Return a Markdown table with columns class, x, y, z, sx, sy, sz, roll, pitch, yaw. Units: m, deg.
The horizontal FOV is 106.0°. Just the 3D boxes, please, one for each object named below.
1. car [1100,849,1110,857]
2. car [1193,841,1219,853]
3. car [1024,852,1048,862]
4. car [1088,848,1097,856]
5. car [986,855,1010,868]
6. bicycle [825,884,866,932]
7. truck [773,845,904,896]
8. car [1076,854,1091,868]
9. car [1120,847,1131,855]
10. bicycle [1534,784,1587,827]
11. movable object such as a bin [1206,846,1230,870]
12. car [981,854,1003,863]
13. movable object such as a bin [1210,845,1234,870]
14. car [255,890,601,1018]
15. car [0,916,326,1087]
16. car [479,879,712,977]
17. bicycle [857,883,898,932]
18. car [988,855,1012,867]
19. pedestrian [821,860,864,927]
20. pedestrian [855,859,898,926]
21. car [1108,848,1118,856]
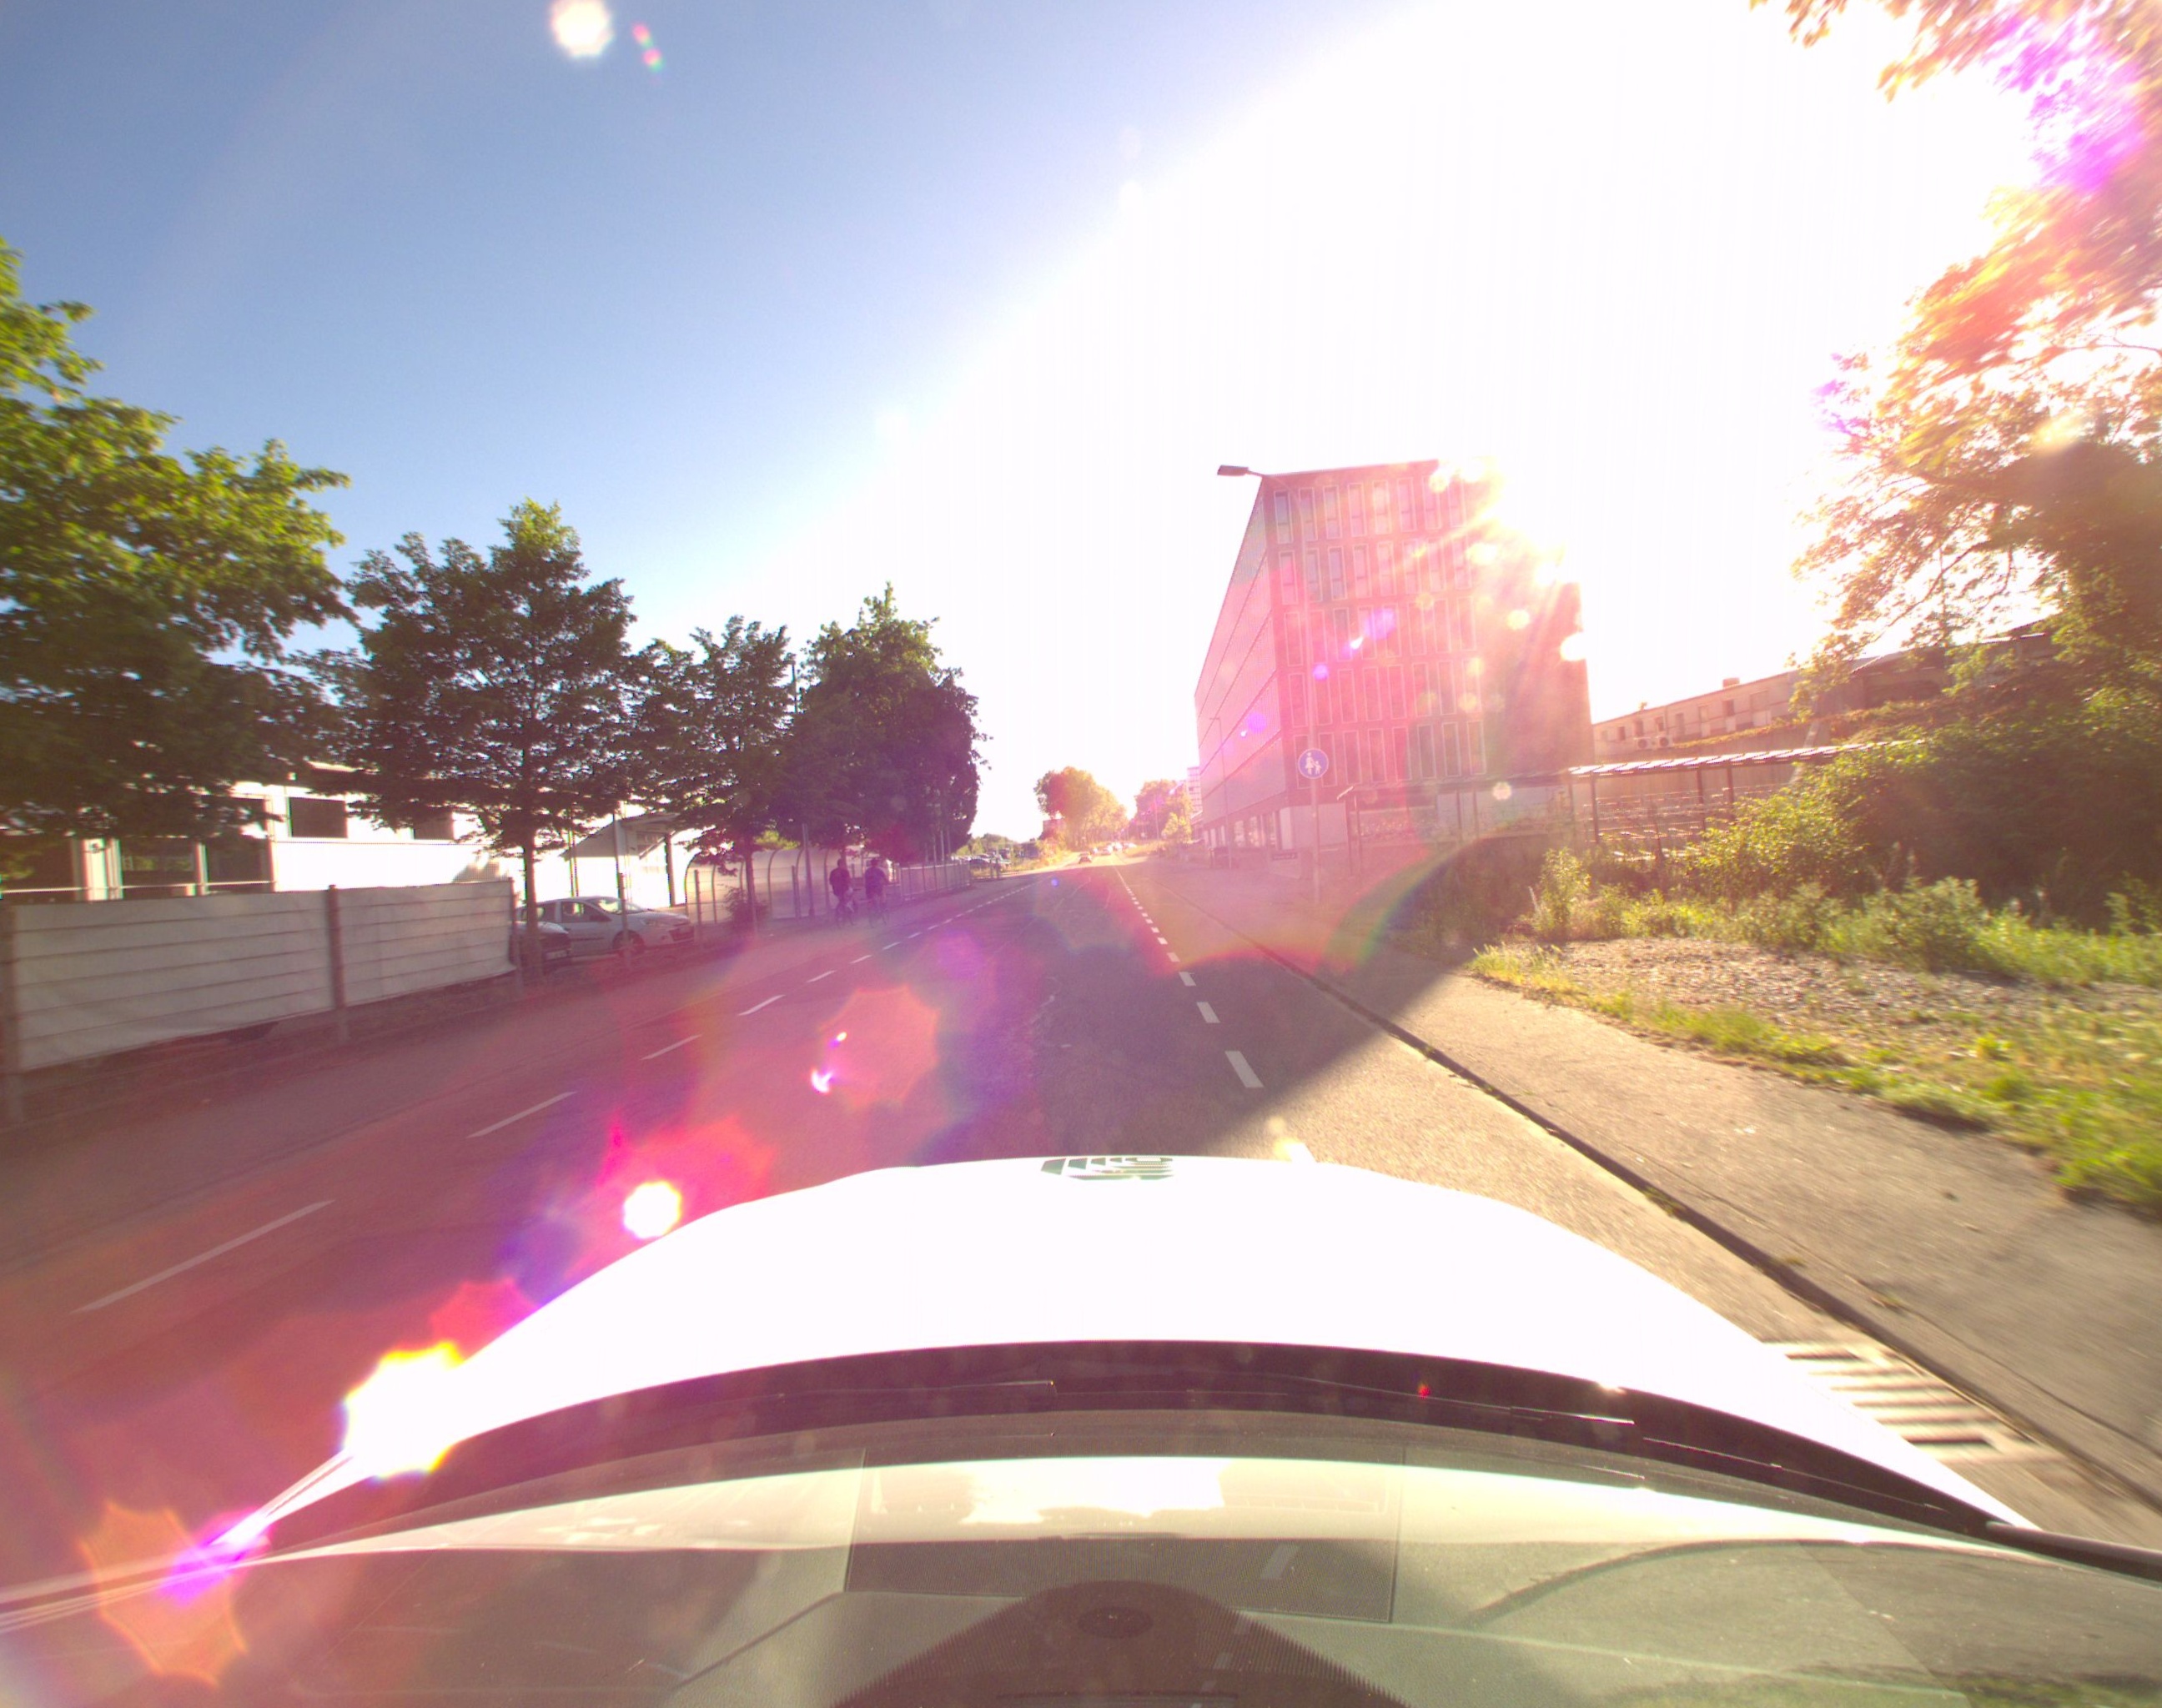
| class | x | y | z | sx | sy | sz | roll | pitch | yaw |
| --- | --- | --- | --- | --- | --- | --- | --- | --- | --- |
| car | 4.712 | -0.273 | 158.192 | 1.782 | 1.420 | 4.004 | -4 | 1 | 3 |
| car | 21.098 | -1.177 | 137.880 | 4.165 | 1.581 | 1.853 | -5 | -9 | 5 |
| car | -9.409 | 0.564 | 171.482 | 4.829 | 1.834 | 2.000 | -4 | 1 | 0 |
| car | 2.483 | -0.432 | 176.583 | 1.647 | 1.503 | 4.003 | -5 | 0 | 3 |
| car | -18.916 | 1.749 | 185.131 | 4.910 | 2.459 | 2.320 | -4 | 0 | 0 |
| bicycle | -6.388 | 1.452 | 22.154 | 0.468 | 1.148 | 1.870 | -3 | 0 | 2 |
| truck | -20.555 | 1.378 | 69.420 | 10.065 | 3.614 | 2.776 | -4 | -1 | 0 |
| car | 0.366 | 0.938 | 110.763 | 1.734 | 1.525 | 4.113 | -8 | 0 | 2 |
| car | 10.578 | -0.660 | 194.000 | 2.156 | 1.684 | 4.001 | -4 | 0 | 1 |
| bicycle | 16.467 | -1.636 | 28.022 | 0.628 | 1.321 | 1.991 | -4 | -1 | 2 |
| movable object such as a bin | 8.332 | 0.225 | 49.613 | 1.124 | 1.336 | 1.345 | -5 | 0 | 1 |
| car | -19.384 | 0.969 | 177.535 | 4.307 | 1.618 | 1.878 | -4 | 1 | 0 |
| movable object such as a bin | 8.286 | 0.215 | 48.007 | 1.124 | 1.371 | 1.345 | -5 | 0 | 1 |
| car | -11.141 | 1.650 | 14.173 | 4.173 | 1.451 | 2.052 | -7 | 0 | -1 |
| car | -11.592 | 1.744 | 9.523 | 3.712 | 1.451 | 1.807 | -7 | 0 | 2 |
| car | -10.576 | 1.568 | 17.964 | 3.879 | 1.511 | 1.785 | -7 | 0 | -2 |
| bicycle | -5.494 | 1.427 | 22.089 | 0.444 | 1.148 | 2.202 | -3 | 0 | 2 |
| car | -18.757 | 1.573 | 187.830 | 5.079 | 2.459 | 2.320 | -4 | 1 | 0 |
| pedestrian | -6.448 | 1.046 | 22.071 | 0.718 | 1.720 | 1.058 | -4 | 0 | 2 |
| pedestrian | -5.525 | 1.018 | 22.061 | 0.718 | 1.720 | 1.058 | -4 | 0 | 2 |
| car | 7.408 | -0.477 | 188.878 | 2.155 | 1.684 | 4.003 | -4 | 0 | 3 |
